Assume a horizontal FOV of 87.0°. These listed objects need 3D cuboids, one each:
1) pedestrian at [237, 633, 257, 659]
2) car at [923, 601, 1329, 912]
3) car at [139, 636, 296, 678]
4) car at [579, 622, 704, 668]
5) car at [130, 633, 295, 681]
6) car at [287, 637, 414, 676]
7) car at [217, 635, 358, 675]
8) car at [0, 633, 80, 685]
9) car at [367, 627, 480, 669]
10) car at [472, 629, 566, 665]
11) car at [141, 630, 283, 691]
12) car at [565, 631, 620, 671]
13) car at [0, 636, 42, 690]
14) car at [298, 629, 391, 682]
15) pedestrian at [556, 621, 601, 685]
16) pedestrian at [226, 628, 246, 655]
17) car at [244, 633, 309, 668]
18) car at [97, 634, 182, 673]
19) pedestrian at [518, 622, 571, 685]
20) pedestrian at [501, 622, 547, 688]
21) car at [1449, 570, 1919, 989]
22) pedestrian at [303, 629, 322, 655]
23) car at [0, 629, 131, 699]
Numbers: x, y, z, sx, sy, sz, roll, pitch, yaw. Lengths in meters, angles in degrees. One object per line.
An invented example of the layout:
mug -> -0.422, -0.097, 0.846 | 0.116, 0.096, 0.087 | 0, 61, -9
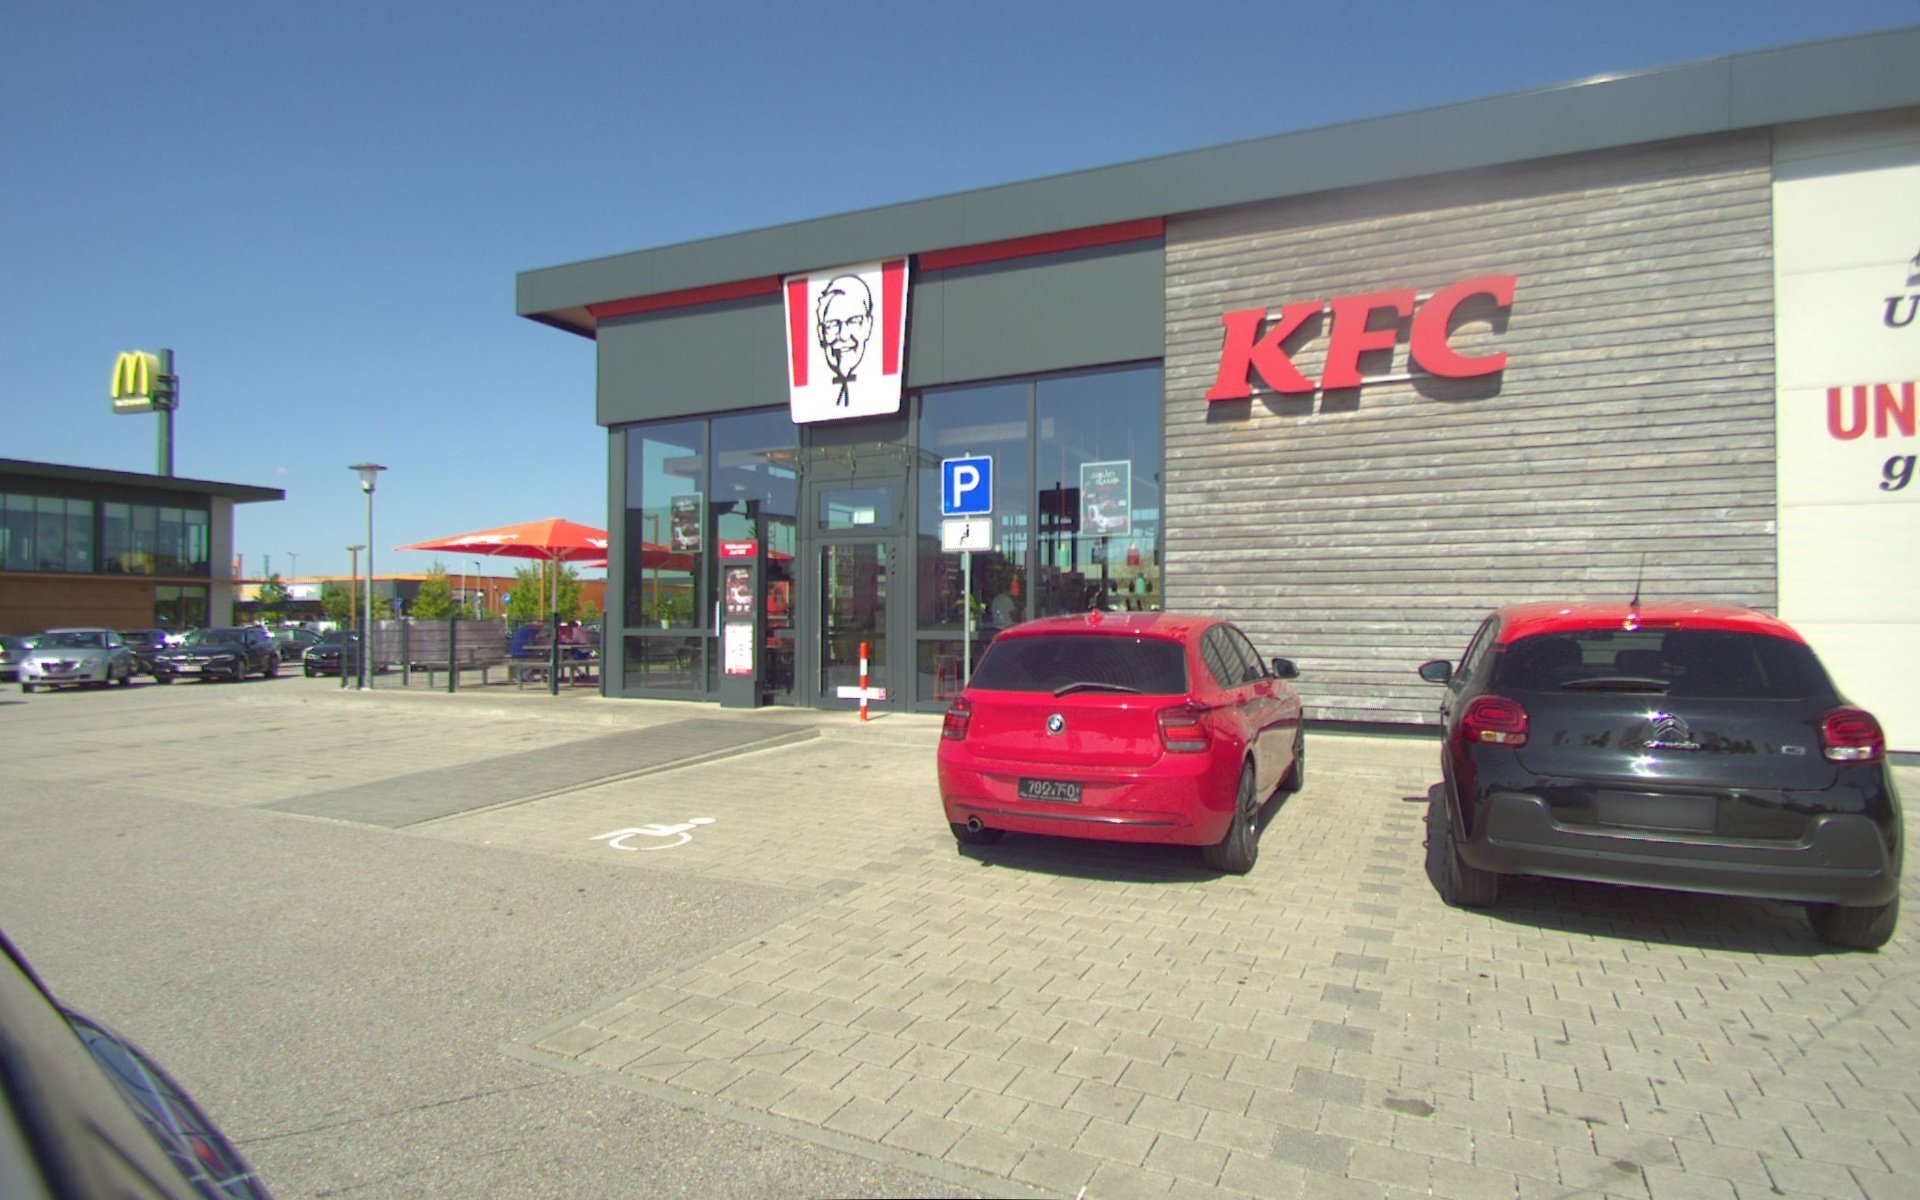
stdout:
pedestrian -> -43.972, 2.807, 62.402 | 0.691, 1.571, 0.722 | -1, -2, -2
car -> 1.476, 0.756, 7.014 | 1.730, 1.423, 4.366 | -2, -1, 24
car -> -28.860, 2.186, 39.489 | 4.565, 1.498, 1.901 | 0, -1, -17
car -> -11.563, 1.637, 36.903 | 4.230, 1.603, 1.862 | 0, -2, -17
car -> -25.530, 1.927, 34.737 | 4.207, 1.498, 1.819 | 0, -1, -17
car -> -24.381, 2.231, 40.643 | 4.044, 1.424, 1.819 | 0, -1, -17
car -> -28.109, 2.275, 42.478 | 4.565, 1.498, 1.901 | 0, -1, -17
car -> -29.958, 1.816, 31.071 | 4.044, 1.527, 1.819 | 0, -1, -17
car -> -23.058, 2.041, 43.666 | 4.044, 1.687, 1.819 | 0, -1, -17
car -> -20.488, 2.170, 47.211 | 3.931, 1.564, 1.760 | 0, -2, -21
car -> -20.509, 1.620, 27.994 | 1.941, 1.498, 4.798 | 0, -2, -21
car -> -14.612, 1.996, 40.149 | 1.941, 1.471, 4.220 | 0, -2, -21
car -> -29.137, 1.811, 28.848 | 4.044, 1.504, 1.717 | 0, -1, -17
car -> -18.768, 1.670, 31.032 | 1.804, 1.471, 4.384 | 0, -2, -23
pedestrian -> -7.797, 1.083, 20.716 | 0.678, 1.283, 0.549 | -1, -2, 10
pedestrian -> -42.863, 2.448, 59.911 | 0.691, 1.571, 0.722 | -1, -2, -2
car -> -33.827, 2.486, 50.194 | 1.687, 1.625, 4.049 | 0, -2, -20
car -> -36.330, 2.350, 44.920 | 1.687, 1.625, 4.049 | 0, -2, -20
pedestrian -> -8.611, 1.100, 20.980 | 0.678, 1.283, 0.839 | -1, -2, 10
pedestrian -> -8.673, 1.084, 20.162 | 0.607, 1.283, 0.622 | -1, -2, 10
car -> 3.754, 0.681, 5.708 | 1.731, 1.518, 3.874 | -2, -1, 26
pedestrian -> -40.277, 2.622, 62.934 | 0.718, 1.571, 0.695 | -2, -2, 27
car -> -21.771, 1.517, 24.705 | 1.942, 1.538, 4.218 | 0, -2, -34
